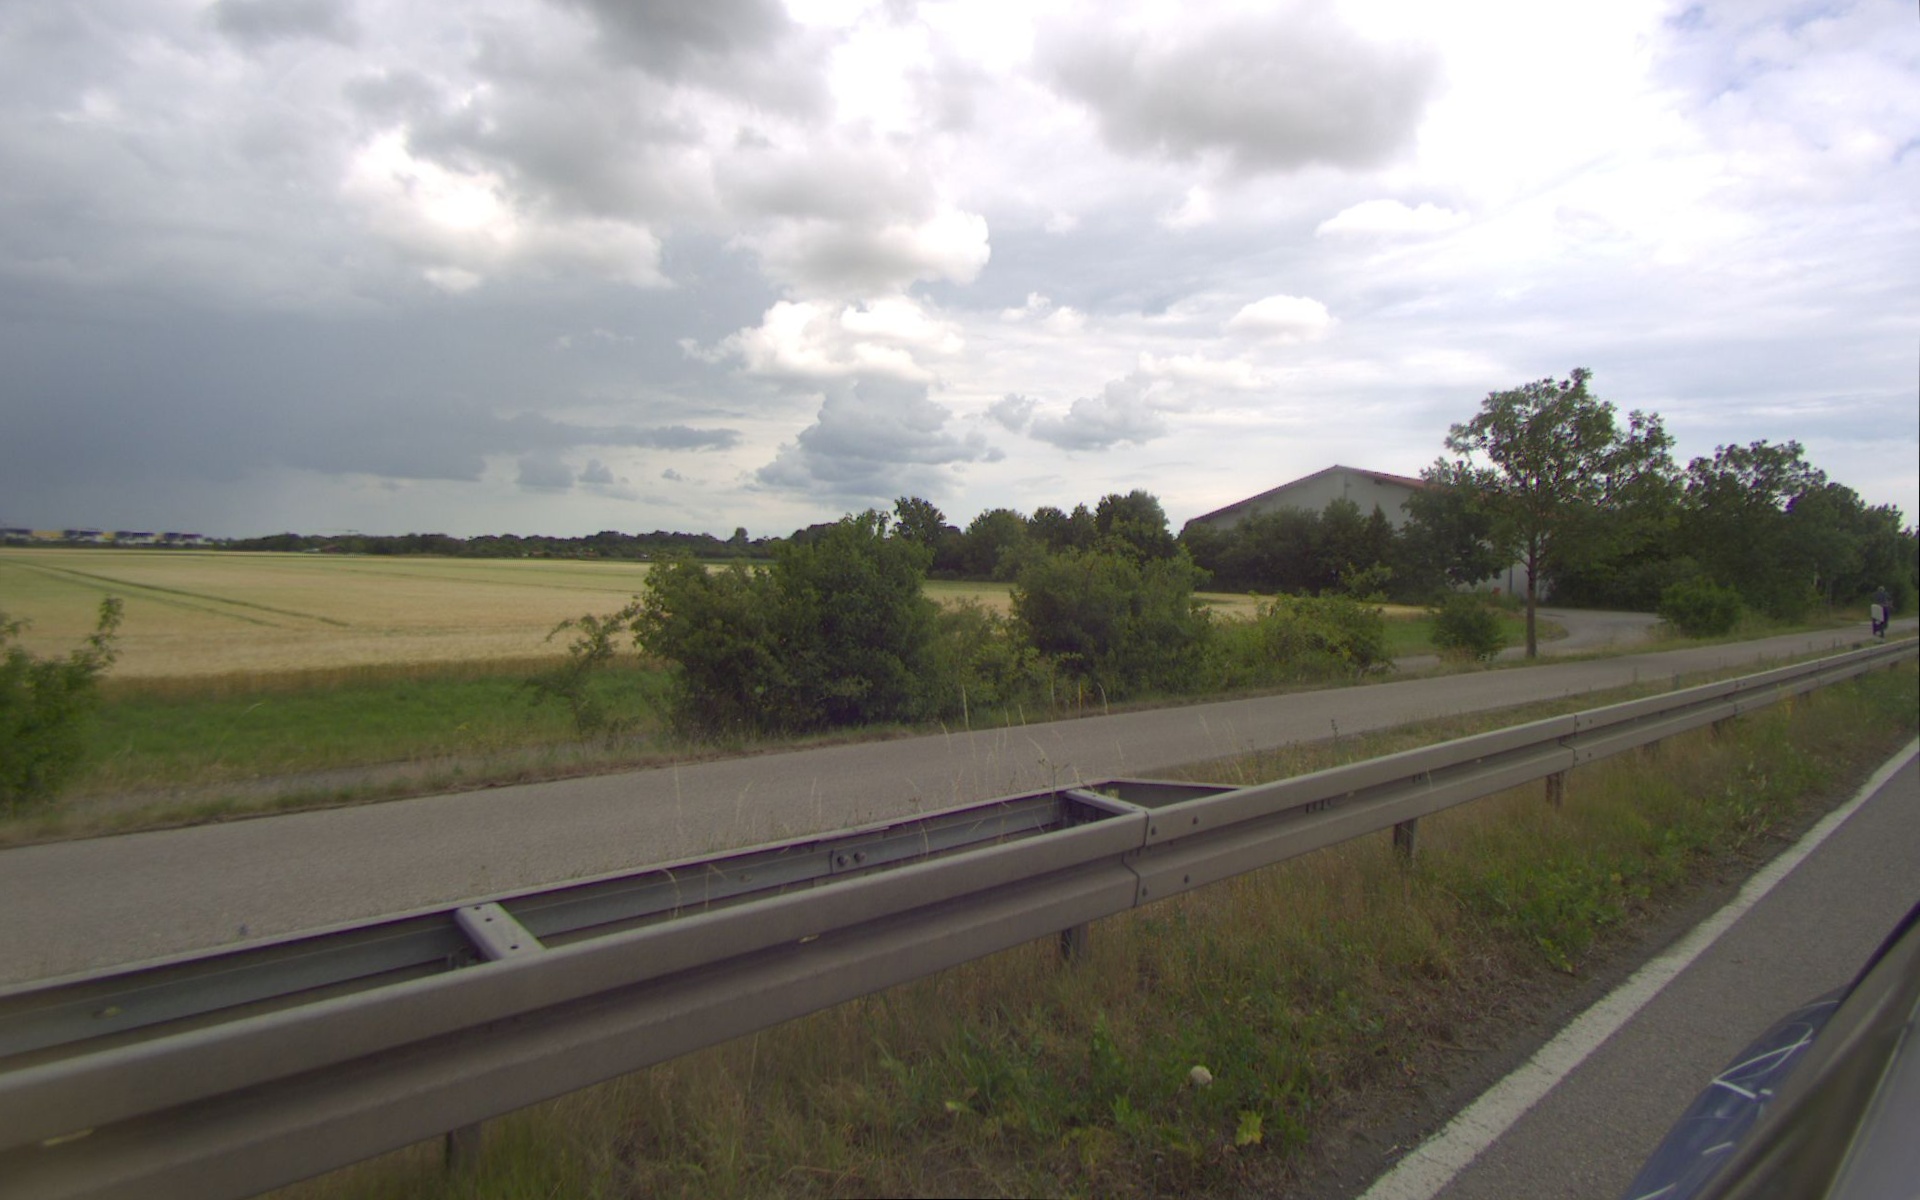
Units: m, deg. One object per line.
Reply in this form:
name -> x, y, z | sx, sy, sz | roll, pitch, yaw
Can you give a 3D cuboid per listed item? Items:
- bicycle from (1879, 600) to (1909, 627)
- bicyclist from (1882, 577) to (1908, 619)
bicycle -> 36.515, 0.527, 39.546 | 2.037, 0.990, 0.640 | -1, 2, -41
bicyclist -> 36.511, -0.084, 39.521 | 0.952, 1.602, 0.640 | 0, 1, -41
